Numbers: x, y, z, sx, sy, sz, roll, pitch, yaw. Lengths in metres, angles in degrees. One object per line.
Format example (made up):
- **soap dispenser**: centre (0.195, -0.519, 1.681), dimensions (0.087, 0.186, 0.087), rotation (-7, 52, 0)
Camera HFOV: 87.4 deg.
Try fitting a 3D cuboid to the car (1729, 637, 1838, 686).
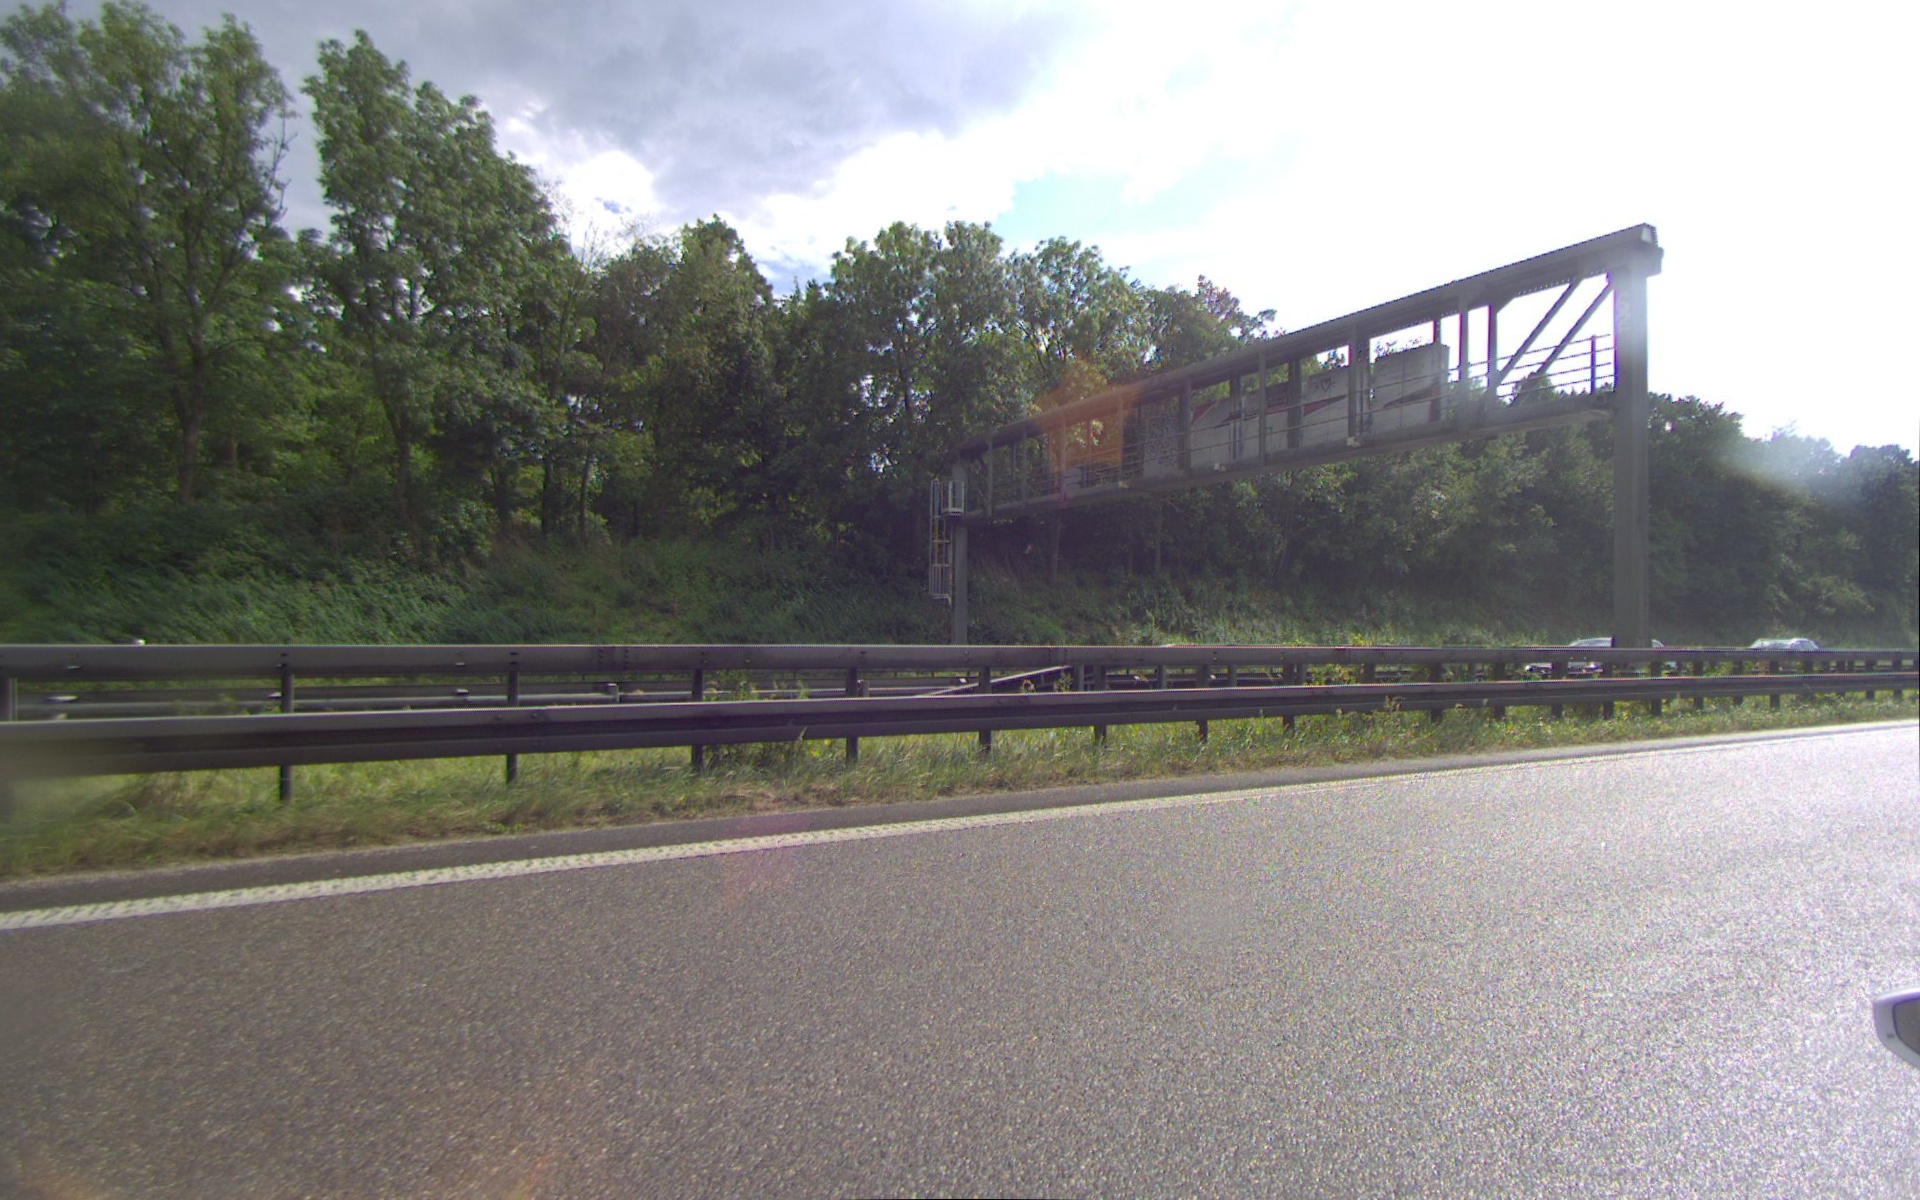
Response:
- **car**: centre (31.263, 2.305, 38.107), dimensions (4.187, 1.685, 1.845), rotation (2, 0, -30)
